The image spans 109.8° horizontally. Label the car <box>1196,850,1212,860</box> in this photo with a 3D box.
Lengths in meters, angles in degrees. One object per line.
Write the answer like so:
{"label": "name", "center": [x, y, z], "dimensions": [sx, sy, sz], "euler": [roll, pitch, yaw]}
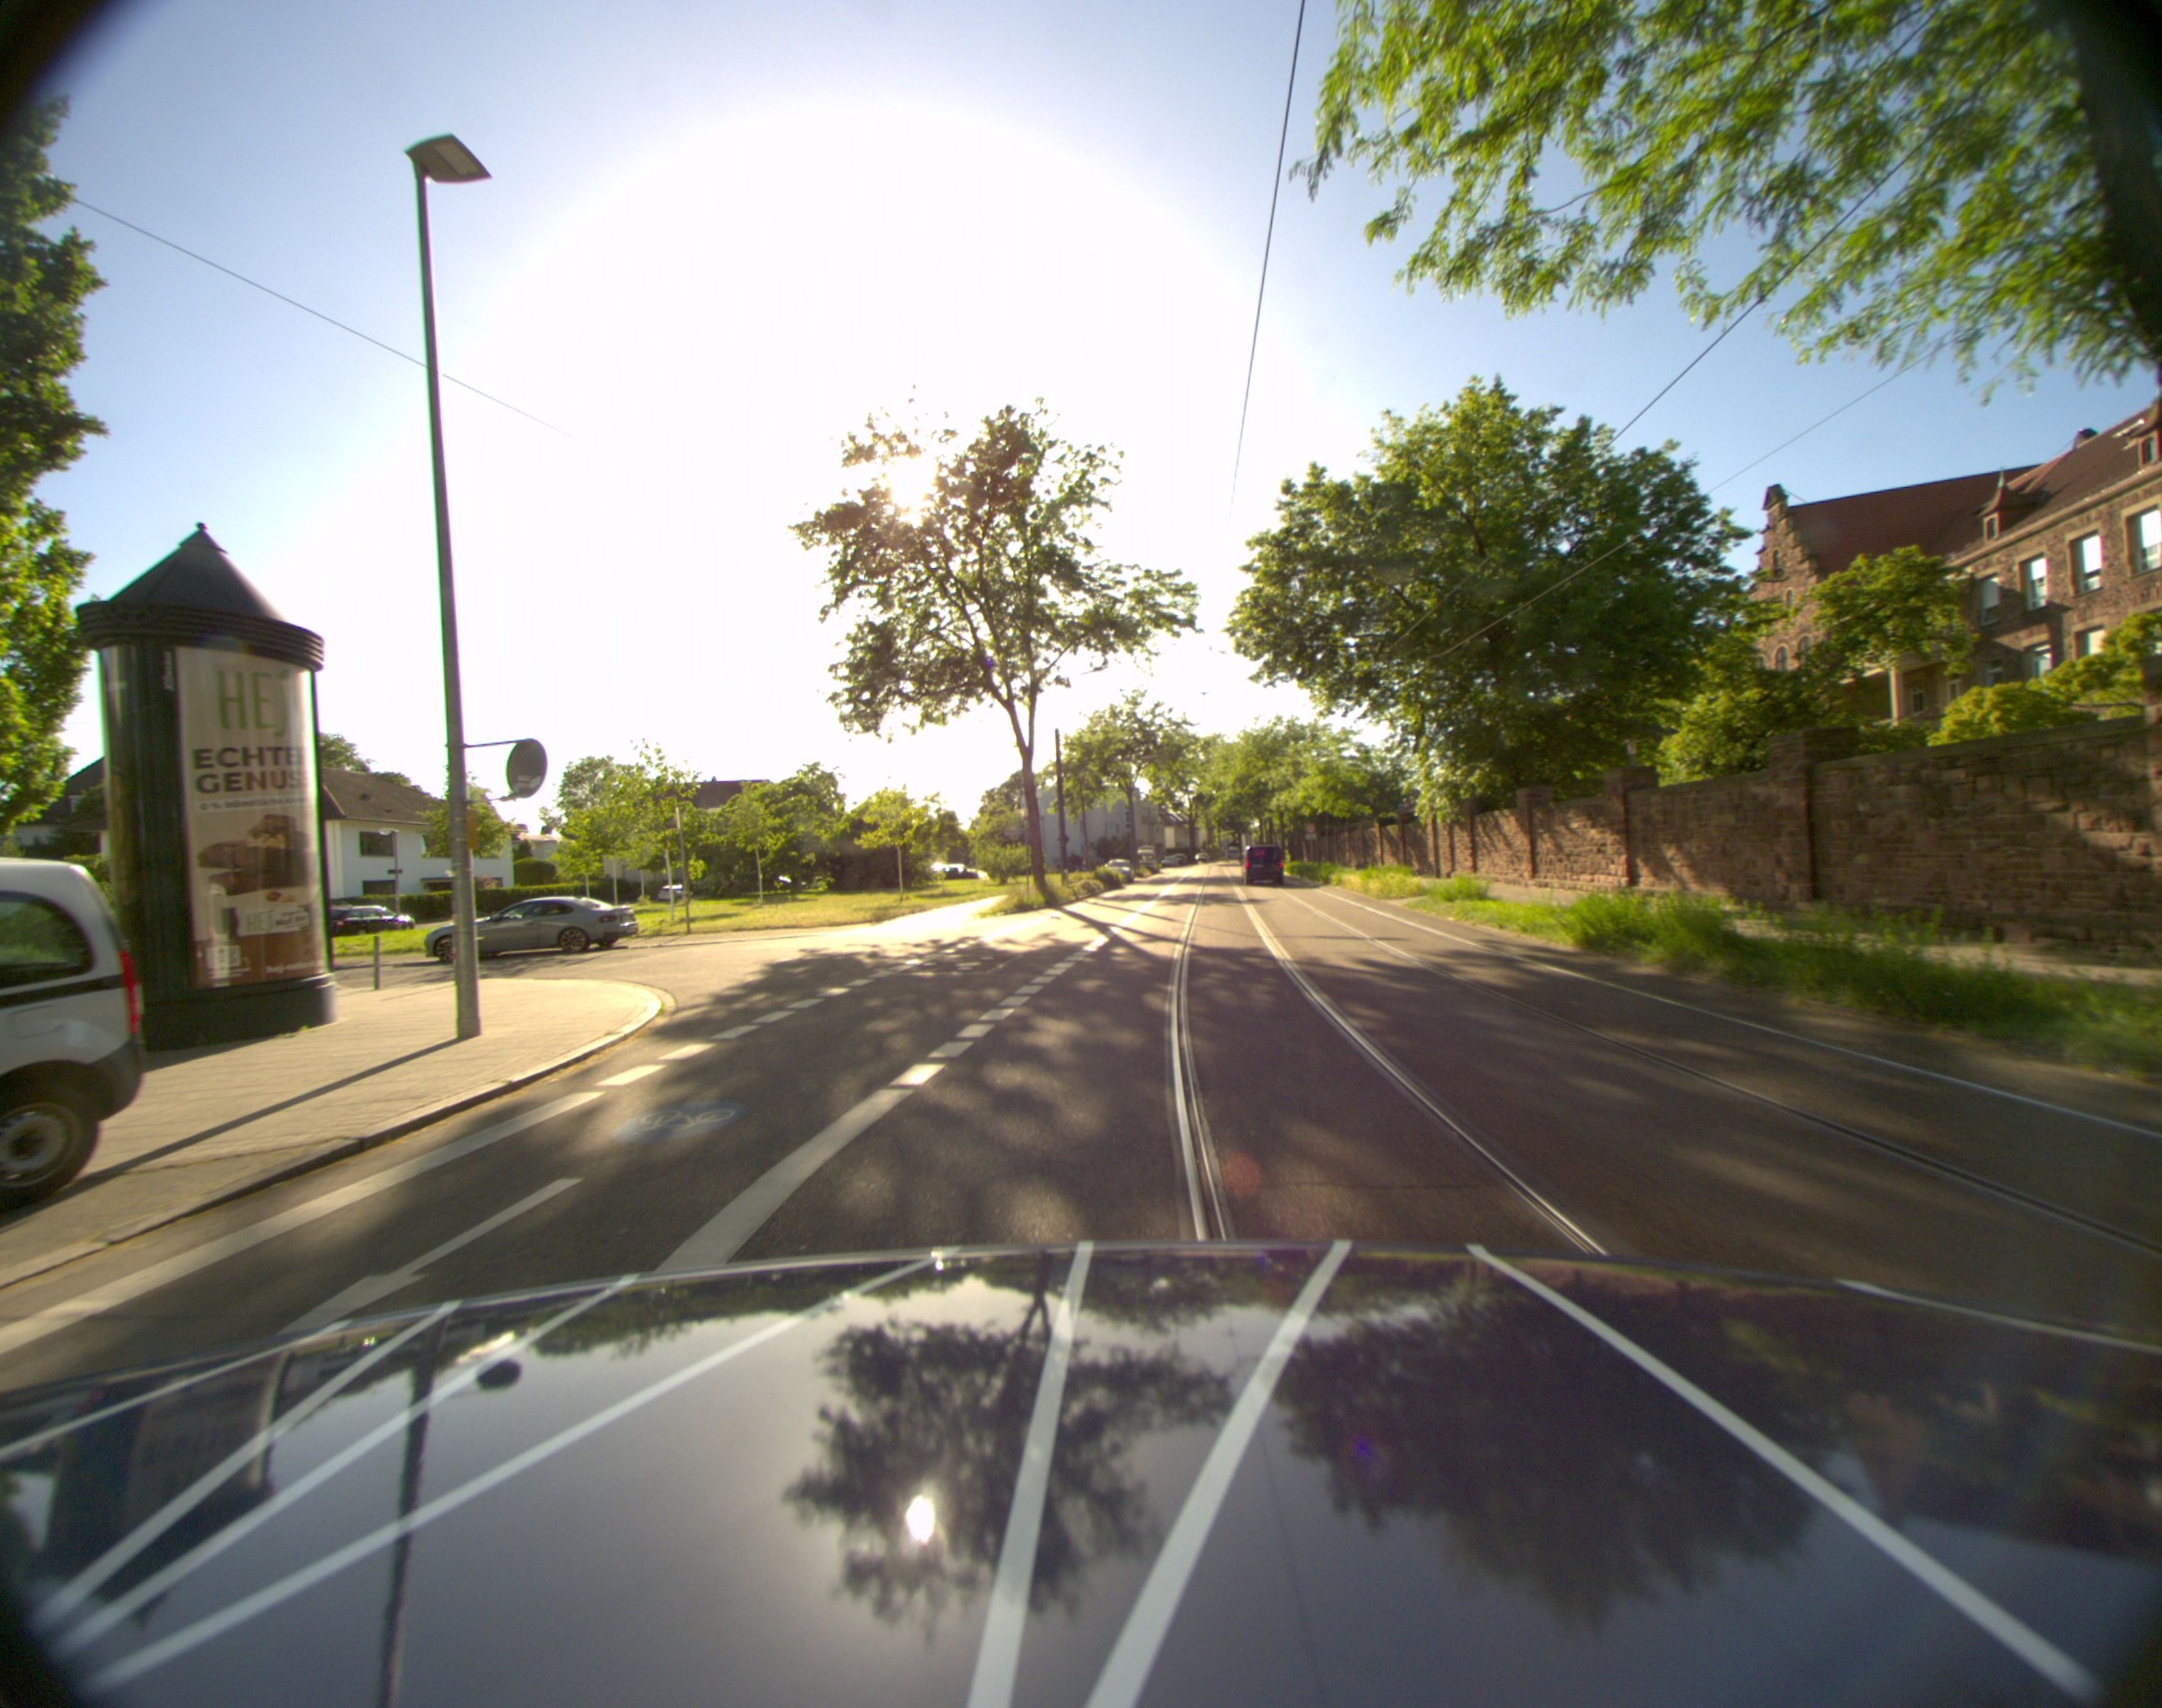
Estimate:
{"label": "car", "center": [19.744, 0.160, 121.753], "dimensions": [1.878, 1.509, 4.654], "euler": [-3, 0, 18]}

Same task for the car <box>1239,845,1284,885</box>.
{"label": "car", "center": [8.648, 0.488, 36.704], "dimensions": [1.636, 1.782, 4.340], "euler": [-2, 0, 8]}

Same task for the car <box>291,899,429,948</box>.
{"label": "car", "center": [-31.594, 2.984, 33.543], "dimensions": [2.000, 1.640, 4.763], "euler": [-4, 0, -10]}

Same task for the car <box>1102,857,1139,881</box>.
{"label": "car", "center": [2.764, 0.972, 51.796], "dimensions": [2.004, 1.457, 5.436], "euler": [0, 1, 9]}

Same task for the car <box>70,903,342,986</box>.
{"label": "car", "center": [-21.211, 2.162, 18.574], "dimensions": [4.292, 1.502, 1.839], "euler": [-3, 3, -2]}

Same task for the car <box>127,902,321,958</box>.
{"label": "car", "center": [-30.895, 2.685, 27.675], "dimensions": [2.065, 1.462, 4.752], "euler": [-3, 0, -9]}

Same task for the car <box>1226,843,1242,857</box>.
{"label": "car", "center": [30.611, -0.759, 152.071], "dimensions": [2.294, 2.575, 5.726], "euler": [-3, 0, 20]}

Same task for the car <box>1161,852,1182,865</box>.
{"label": "car", "center": [11.918, 0.575, 99.876], "dimensions": [1.740, 1.487, 4.535], "euler": [-3, 0, 19]}

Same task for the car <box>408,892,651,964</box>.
{"label": "car", "center": [-13.800, 1.813, 19.282], "dimensions": [4.524, 1.361, 1.967], "euler": [-3, 0, -8]}

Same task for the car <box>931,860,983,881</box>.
{"label": "car", "center": [-12.887, 1.710, 79.419], "dimensions": [5.212, 1.874, 2.099], "euler": [-4, 0, -8]}

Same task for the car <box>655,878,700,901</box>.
{"label": "car", "center": [-36.397, 3.177, 68.641], "dimensions": [1.999, 1.786, 3.999], "euler": [-3, 0, -3]}

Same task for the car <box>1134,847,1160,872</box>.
{"label": "car", "center": [6.148, 0.487, 69.813], "dimensions": [1.997, 2.083, 4.719], "euler": [-3, 0, 8]}

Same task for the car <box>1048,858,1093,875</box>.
{"label": "car", "center": [-1.129, 1.318, 81.215], "dimensions": [4.462, 1.482, 2.006], "euler": [-3, 4, -8]}

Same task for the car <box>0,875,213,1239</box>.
{"label": "car", "center": [-6.139, 1.024, 2.172], "dimensions": [2.028, 1.736, 4.750], "euler": [-3, 0, -5]}
